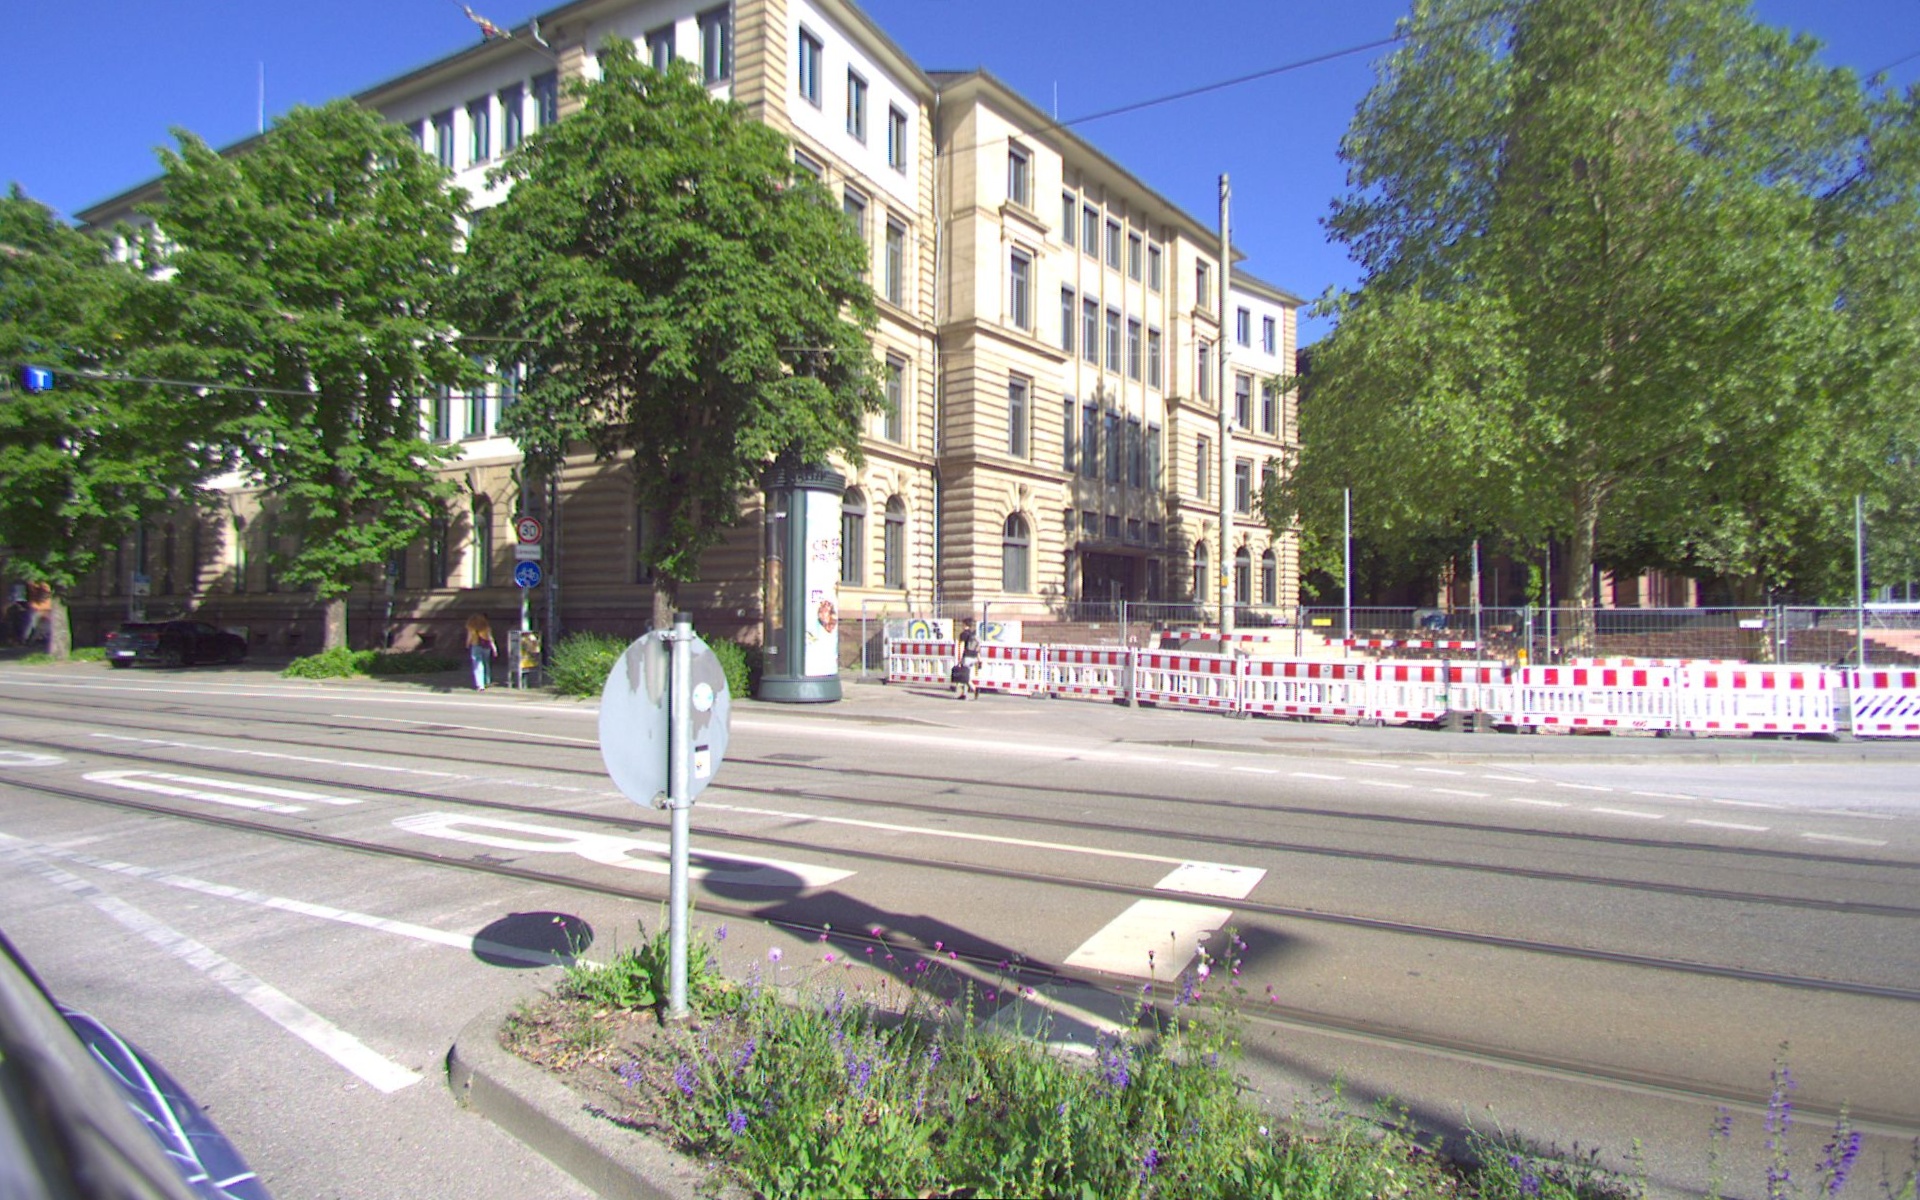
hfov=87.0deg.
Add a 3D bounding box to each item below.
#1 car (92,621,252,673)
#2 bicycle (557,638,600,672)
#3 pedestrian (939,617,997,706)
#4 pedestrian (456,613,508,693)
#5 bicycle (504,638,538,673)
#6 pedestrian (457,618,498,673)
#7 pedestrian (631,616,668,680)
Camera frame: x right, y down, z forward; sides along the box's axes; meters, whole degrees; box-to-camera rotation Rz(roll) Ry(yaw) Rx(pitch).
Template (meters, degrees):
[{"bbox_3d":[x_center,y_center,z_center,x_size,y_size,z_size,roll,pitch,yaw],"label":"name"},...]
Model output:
[{"bbox_3d":[-25.347,1.476,32.745,1.895,1.586,4.108,0,-2,1],"label":"car"},{"bbox_3d":[-10.865,1.550,28.788,1.356,0.910,0.394,0,0,31],"label":"bicycle"},{"bbox_3d":[0.161,1.200,20.105,0.845,1.682,0.720,2,-1,39],"label":"pedestrian"},{"bbox_3d":[-10.428,1.163,22.089,0.760,1.682,1.035,2,-7,-42],"label":"pedestrian"},{"bbox_3d":[-12.632,1.578,29.114,1.098,0.963,0.340,0,0,31],"label":"bicycle"},{"bbox_3d":[-14.400,1.340,30.219,0.671,1.578,0.849,0,2,34],"label":"pedestrian"},{"bbox_3d":[-7.745,1.193,25.238,0.651,1.574,0.573,-1,-2,29],"label":"pedestrian"}]
